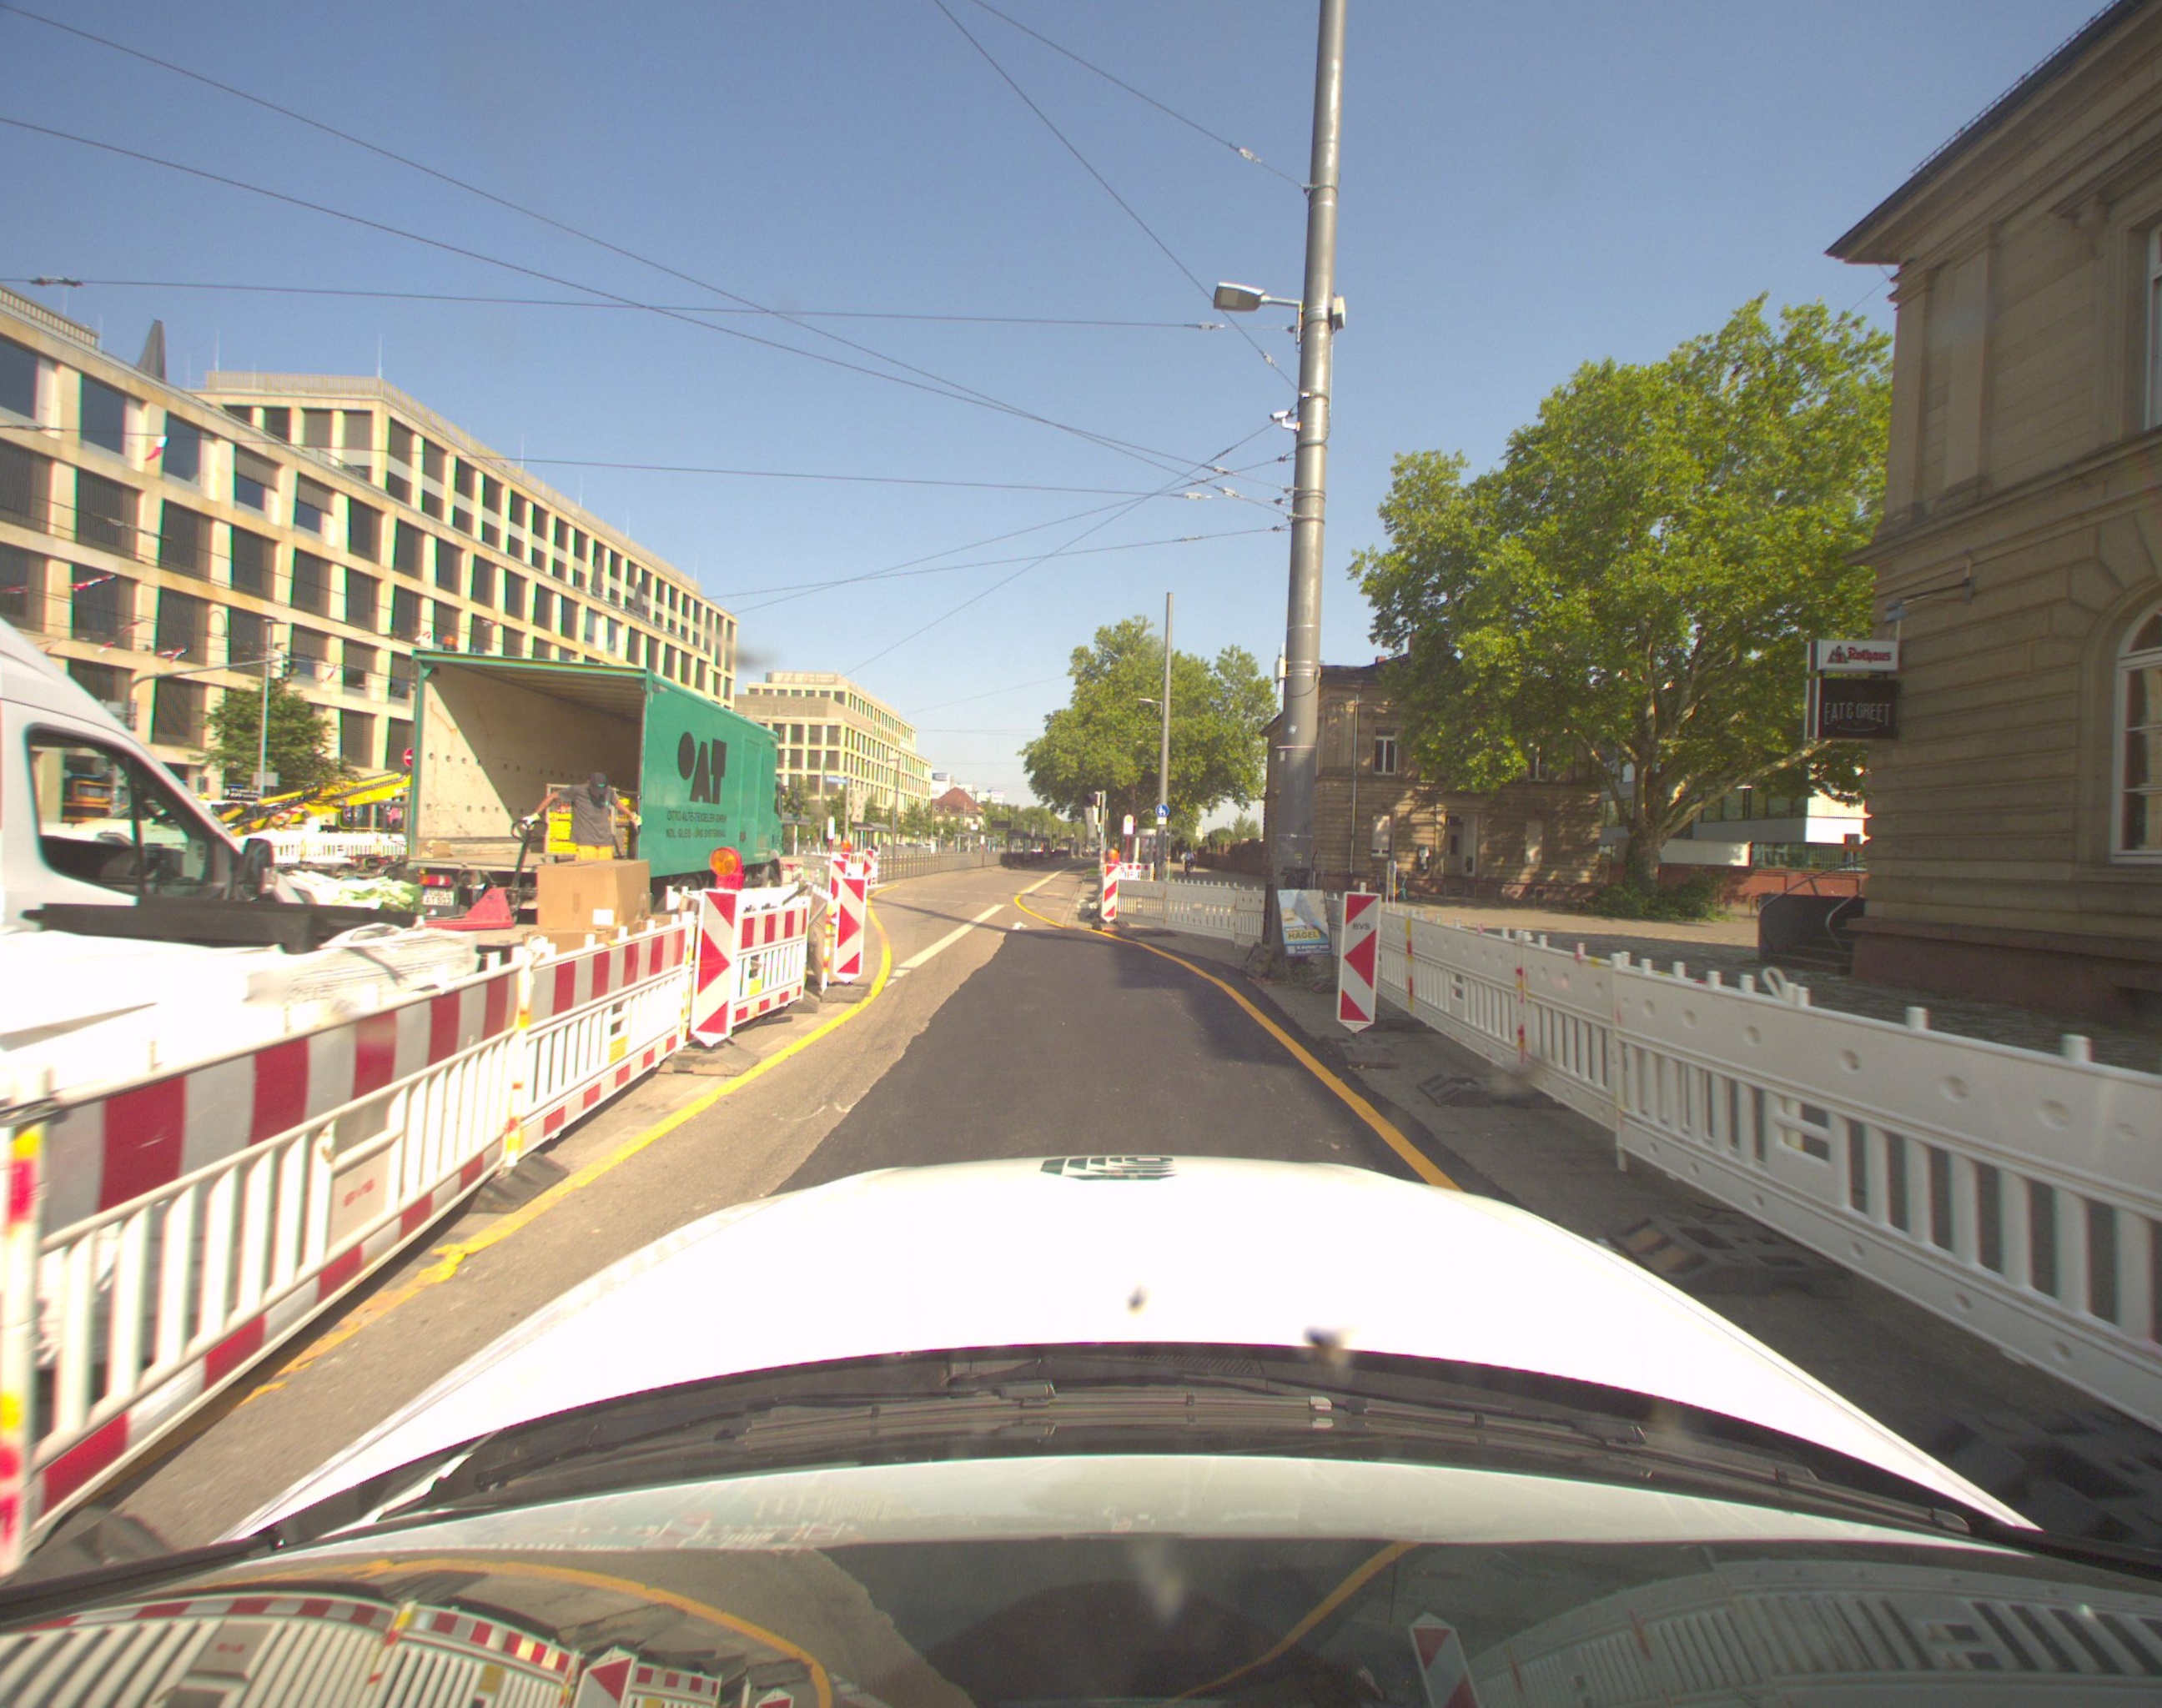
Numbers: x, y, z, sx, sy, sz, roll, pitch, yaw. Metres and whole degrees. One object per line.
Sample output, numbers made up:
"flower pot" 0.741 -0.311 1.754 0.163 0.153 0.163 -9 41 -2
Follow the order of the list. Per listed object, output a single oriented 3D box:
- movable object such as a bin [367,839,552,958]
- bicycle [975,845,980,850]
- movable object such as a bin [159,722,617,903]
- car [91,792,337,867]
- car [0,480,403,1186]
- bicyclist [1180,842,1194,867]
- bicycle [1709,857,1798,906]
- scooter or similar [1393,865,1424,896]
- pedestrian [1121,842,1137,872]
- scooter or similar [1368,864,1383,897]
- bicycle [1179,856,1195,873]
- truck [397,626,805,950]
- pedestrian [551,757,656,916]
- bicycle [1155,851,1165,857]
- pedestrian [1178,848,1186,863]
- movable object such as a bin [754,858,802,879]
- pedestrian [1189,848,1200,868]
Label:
"movable object such as a bin" -6.330 0.417 8.402 0.640 1.092 1.484 2 0 6
"bicycle" -17.185 -1.081 134.833 0.474 0.662 1.616 2 0 7
"movable object such as a bin" -18.510 -0.980 22.861 3.472 4.012 9.094 2 1 26
"car" -26.423 -0.706 25.164 1.802 2.030 5.127 2 1 5
"car" -5.223 -0.097 2.656 2.224 2.729 5.154 2 0 -9
"bicyclist" 6.775 0.048 51.972 0.715 1.543 0.955 2 1 0
"bicycle" 26.685 1.045 32.426 0.844 1.802 3.286 2 1 1
"scooter or similar" 13.382 1.087 33.274 1.256 1.209 0.419 0 2 -23
"pedestrian" 2.710 0.166 45.942 0.690 1.696 0.644 1 0 -19
"scooter or similar" 11.874 1.054 32.829 0.417 1.209 1.262 2 2 24
"bicycle" 6.760 0.649 51.968 0.715 1.042 1.903 2 1 0
"truck" -6.955 -0.806 13.596 2.671 3.678 8.195 2 1 -7
"pedestrian" -5.374 -0.190 9.179 0.698 1.693 0.770 2 0 38
"bicycle" 13.407 0.023 138.639 1.647 0.969 0.507 0 0 7
"pedestrian" 11.366 0.159 91.447 0.803 1.604 0.948 0 0 2
"movable object such as a bin" -10.568 0.486 28.414 1.492 0.652 0.705 2 1 23
"pedestrian" 9.757 0.330 69.994 0.816 1.686 1.013 1 0 2
